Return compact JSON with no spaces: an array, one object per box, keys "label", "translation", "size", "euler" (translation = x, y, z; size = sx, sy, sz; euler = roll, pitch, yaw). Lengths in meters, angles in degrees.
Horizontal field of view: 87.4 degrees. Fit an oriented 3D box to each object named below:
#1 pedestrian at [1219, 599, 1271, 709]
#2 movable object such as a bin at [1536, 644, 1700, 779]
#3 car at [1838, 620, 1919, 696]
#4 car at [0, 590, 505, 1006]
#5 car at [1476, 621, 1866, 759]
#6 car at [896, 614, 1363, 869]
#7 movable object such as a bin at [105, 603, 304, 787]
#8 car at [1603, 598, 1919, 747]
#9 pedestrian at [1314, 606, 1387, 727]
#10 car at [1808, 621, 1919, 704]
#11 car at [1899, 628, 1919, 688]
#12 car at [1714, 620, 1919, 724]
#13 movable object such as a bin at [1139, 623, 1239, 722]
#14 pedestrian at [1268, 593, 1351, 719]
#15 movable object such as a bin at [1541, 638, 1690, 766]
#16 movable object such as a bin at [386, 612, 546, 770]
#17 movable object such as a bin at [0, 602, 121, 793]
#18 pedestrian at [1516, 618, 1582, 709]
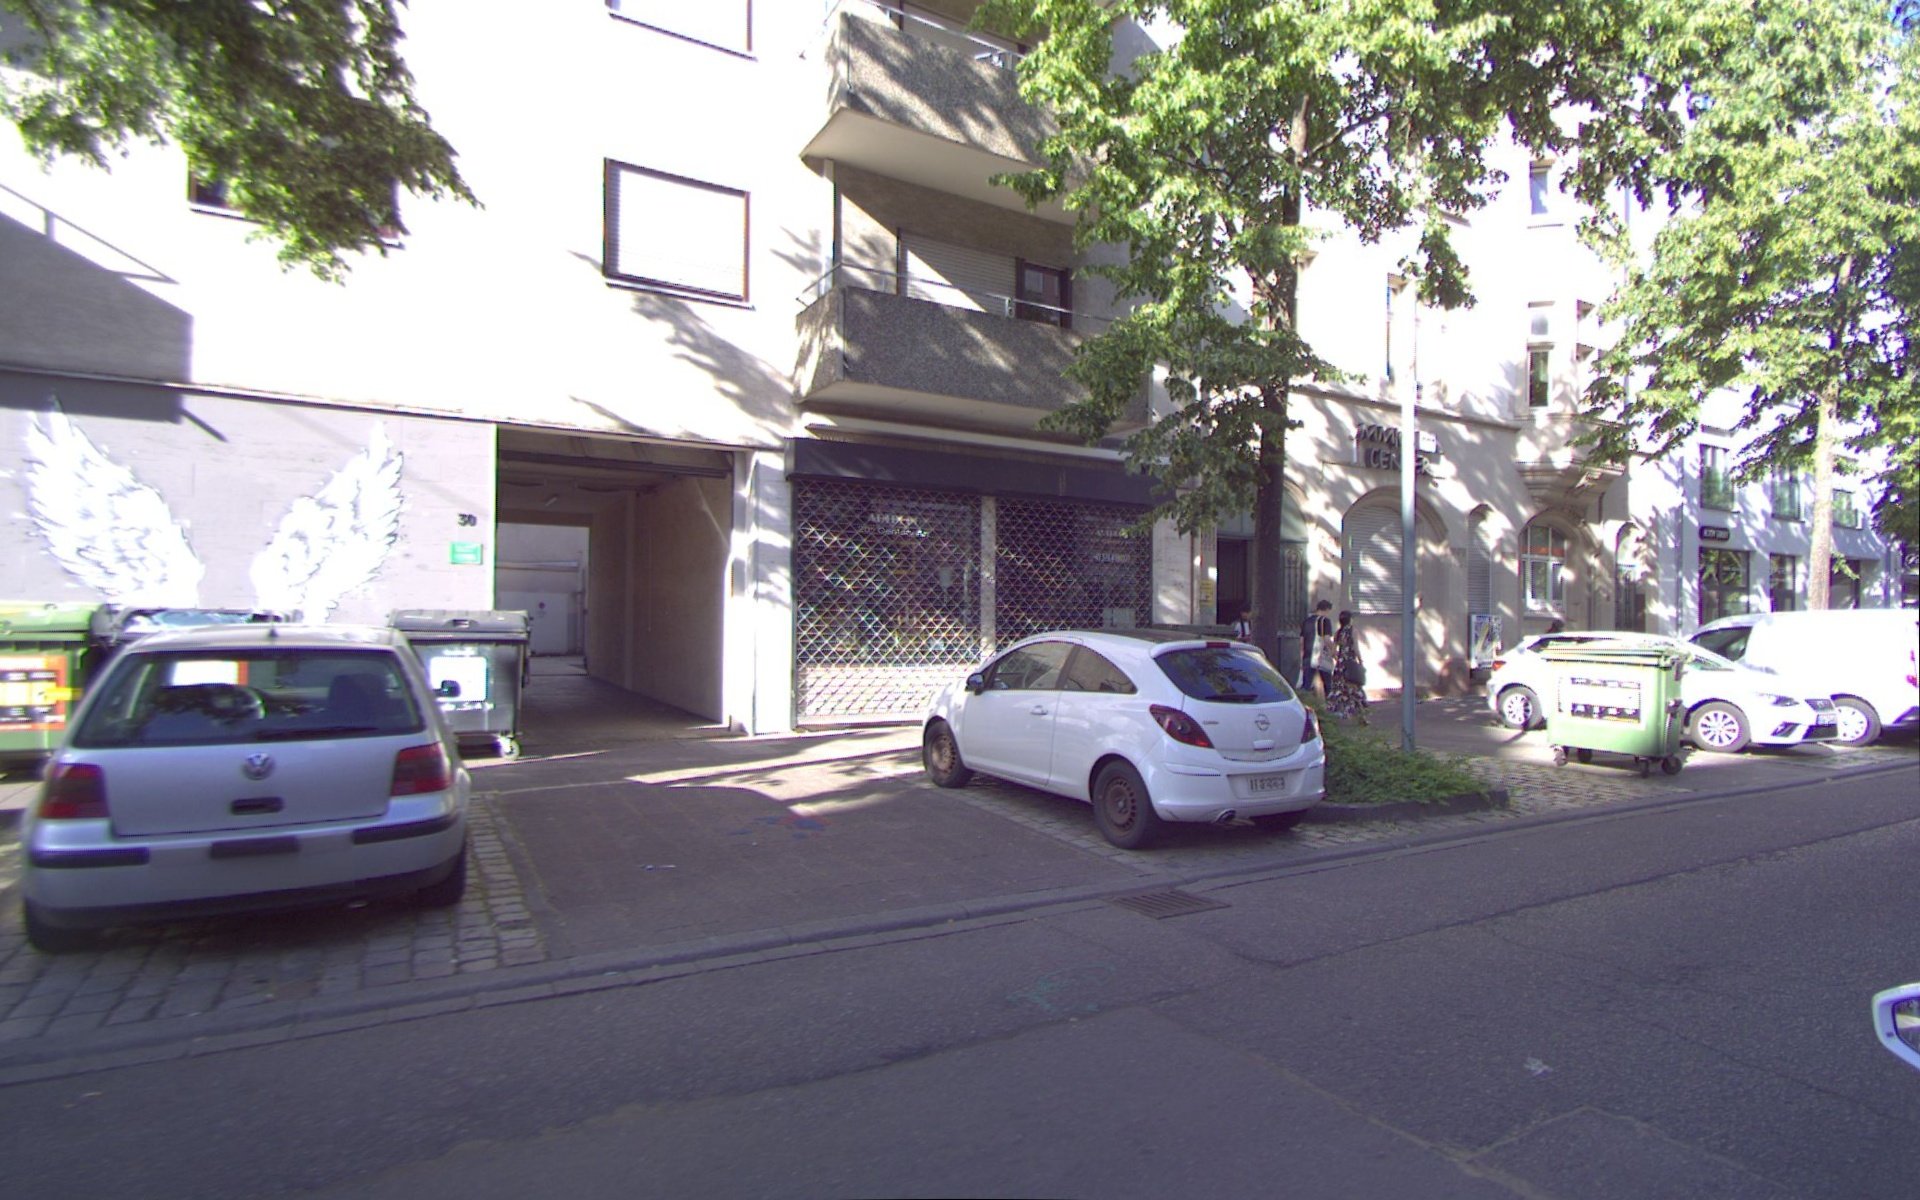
[{"label":"pedestrian","translation":[4.478,0.839,15.799],"size":[0.631,1.694,0.432],"euler":[1,0,-27]},{"label":"movable object such as a bin","translation":[7.078,1.150,10.844],"size":[0.860,1.319,1.231],"euler":[1,-1,-30]},{"label":"car","translation":[21.541,1.256,21.039],"size":[1.956,1.591,4.347],"euler":[1,-1,-29]},{"label":"car","translation":[-3.807,0.754,5.830],"size":[1.728,1.483,3.979],"euler":[3,0,-29]},{"label":"car","translation":[9.513,1.094,13.782],"size":[1.864,1.483,3.962],"euler":[1,0,-29]},{"label":"car","translation":[1.118,0.904,8.191],"size":[1.691,1.483,3.757],"euler":[1,0,-32]},{"label":"movable object such as a bin","translation":[-6.593,0.785,8.868],"size":[1.243,1.479,1.029],"euler":[1,-1,-29]},{"label":"car","translation":[12.131,0.927,14.742],"size":[2.014,1.860,4.087],"euler":[1,0,-29]},{"label":"pedestrian","translation":[5.619,0.941,14.474],"size":[0.719,1.648,0.562],"euler":[1,3,-32]},{"label":"car","translation":[19.641,1.247,19.614],"size":[1.922,1.591,4.347],"euler":[1,-1,-29]},{"label":"car","translation":[25.290,1.440,23.728],"size":[1.959,1.478,4.220],"euler":[1,-1,-33]},{"label":"car","translation":[15.389,1.175,17.030],"size":[1.770,1.579,3.783],"euler":[1,-1,-29]},{"label":"movable object such as a bin","translation":[3.454,1.066,15.158],"size":[1.211,1.416,0.818],"euler":[1,0,-27]},{"label":"pedestrian","translation":[5.251,0.818,15.118],"size":[0.755,1.790,0.770],"euler":[1,3,-32]},{"label":"movable object such as a bin","translation":[7.676,1.153,11.790],"size":[0.921,1.363,1.186],"euler":[1,-1,-31]},{"label":"movable object such as a bin","translation":[-4.878,0.851,9.924],"size":[1.335,1.433,1.073],"euler":[1,-1,-29]},{"label":"movable object such as a bin","translation":[-7.762,0.759,8.158],"size":[1.243,1.479,1.029],"euler":[1,-1,-29]},{"label":"pedestrian","translation":[10.261,1.098,17.512],"size":[0.832,1.514,0.590],"euler":[1,2,-29]}]
